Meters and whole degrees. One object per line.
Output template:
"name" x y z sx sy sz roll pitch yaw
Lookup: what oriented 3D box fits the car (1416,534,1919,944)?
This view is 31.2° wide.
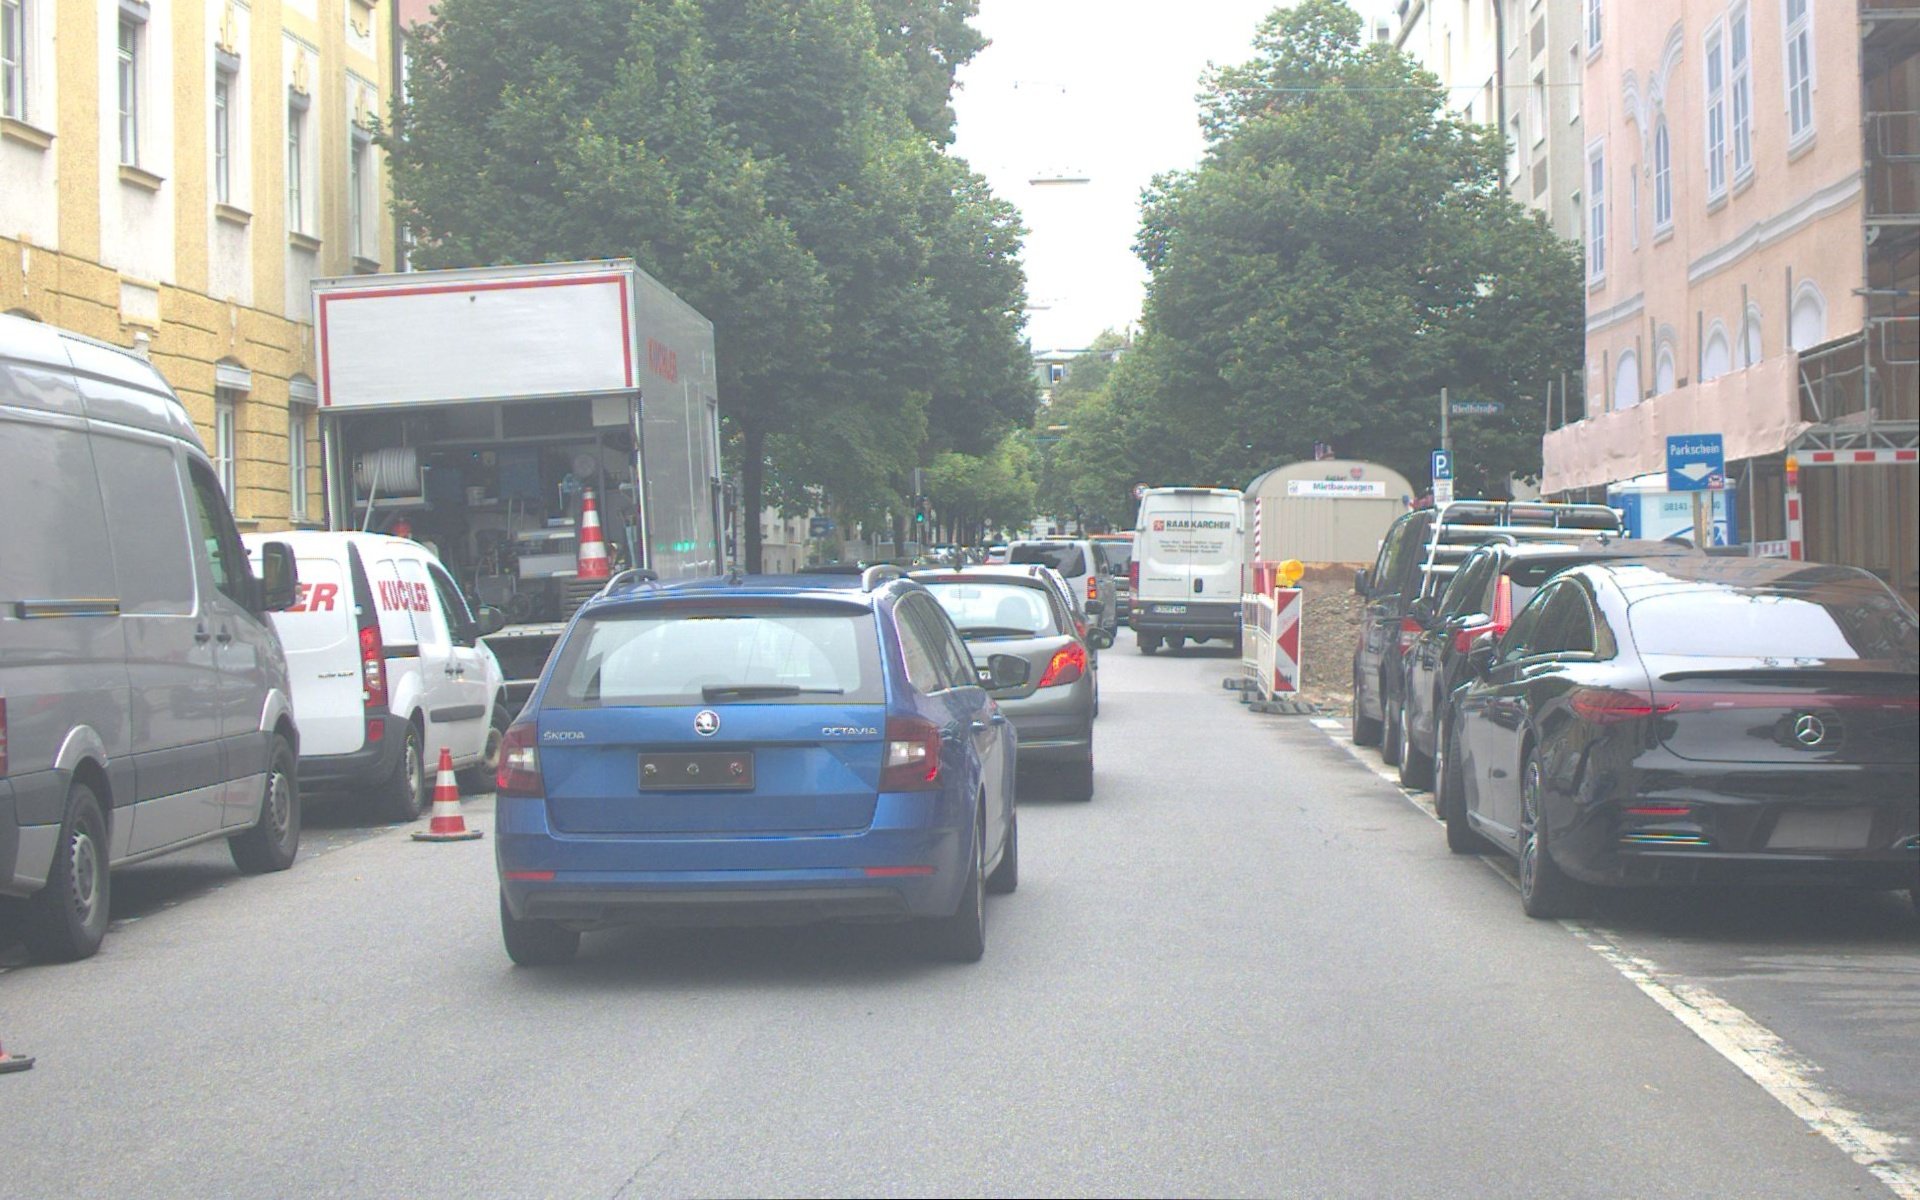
"car" 3.375 0.488 15.858 1.931 1.548 5.637 0 1 2

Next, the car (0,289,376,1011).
"car" -4.375 0.198 14.924 2.056 2.578 6.876 -5 1 2

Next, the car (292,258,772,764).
"car" -3.516 -0.714 30.661 2.813 3.804 8.723 -1 0 2

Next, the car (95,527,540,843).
"car" -4.038 0.478 22.342 1.763 1.773 4.326 -3 0 3

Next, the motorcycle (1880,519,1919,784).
"motorcycle" 5.872 0.287 19.537 0.871 1.499 1.997 -1 1 4

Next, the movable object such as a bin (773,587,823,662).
"movable object such as a bin" -2.579 0.389 54.720 0.711 1.144 0.636 -3 1 -1

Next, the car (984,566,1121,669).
"car" 1.321 0.216 49.079 1.867 1.343 4.347 0 1 2

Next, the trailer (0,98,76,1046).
"trailer" -4.668 0.064 7.428 2.804 2.959 7.599 -4 1 5

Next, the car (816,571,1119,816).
"car" 0.126 0.543 22.235 1.741 1.417 3.663 -1 0 3

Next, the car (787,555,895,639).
"car" -2.162 -0.073 63.440 1.812 1.473 4.000 0 1 0

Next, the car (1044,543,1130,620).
"car" 2.873 -0.444 77.496 1.867 1.647 4.347 0 1 2

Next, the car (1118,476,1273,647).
"car" 3.936 -0.620 56.531 2.113 2.654 5.498 0 0 8

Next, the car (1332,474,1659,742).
"car" 4.118 0.129 27.237 2.083 1.914 5.139 0 -2 3

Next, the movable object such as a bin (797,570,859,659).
"movable object such as a bin" -2.134 0.222 55.614 0.918 1.372 1.080 -3 1 -1

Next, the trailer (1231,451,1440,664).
"trailer" 5.286 -0.583 49.368 2.502 2.830 6.901 0 0 2

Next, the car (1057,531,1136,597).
"car" 3.552 -0.946 89.160 2.008 1.647 4.347 0 1 3

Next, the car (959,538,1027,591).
"car" 1.095 -1.150 110.857 2.008 1.647 4.347 0 1 3

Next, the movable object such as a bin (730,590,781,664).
"movable object such as a bin" -3.248 0.424 54.694 0.721 1.134 0.658 -3 1 -1

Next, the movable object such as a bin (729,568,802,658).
"movable object such as a bin" -3.133 0.207 55.575 1.081 1.372 1.084 -3 1 -1

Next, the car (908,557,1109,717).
"car" 0.508 0.316 34.188 1.867 1.449 4.347 0 1 2

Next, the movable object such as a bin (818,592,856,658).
"movable object such as a bin" -1.959 0.399 54.753 0.546 1.017 0.636 -3 1 -1

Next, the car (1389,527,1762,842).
"car" 3.651 0.452 21.091 1.694 1.671 4.407 2 0 3

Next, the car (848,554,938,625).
"car" -1.416 -0.247 74.148 1.812 1.473 4.000 0 1 0

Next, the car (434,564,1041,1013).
"car" -0.694 0.608 13.563 1.789 1.455 4.314 -1 0 4

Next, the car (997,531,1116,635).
"car" 1.834 -0.349 64.178 1.868 1.863 4.346 0 1 6

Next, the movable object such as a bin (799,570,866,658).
"movable object such as a bin" -2.102 0.222 56.712 1.020 1.372 1.104 -3 1 -1
